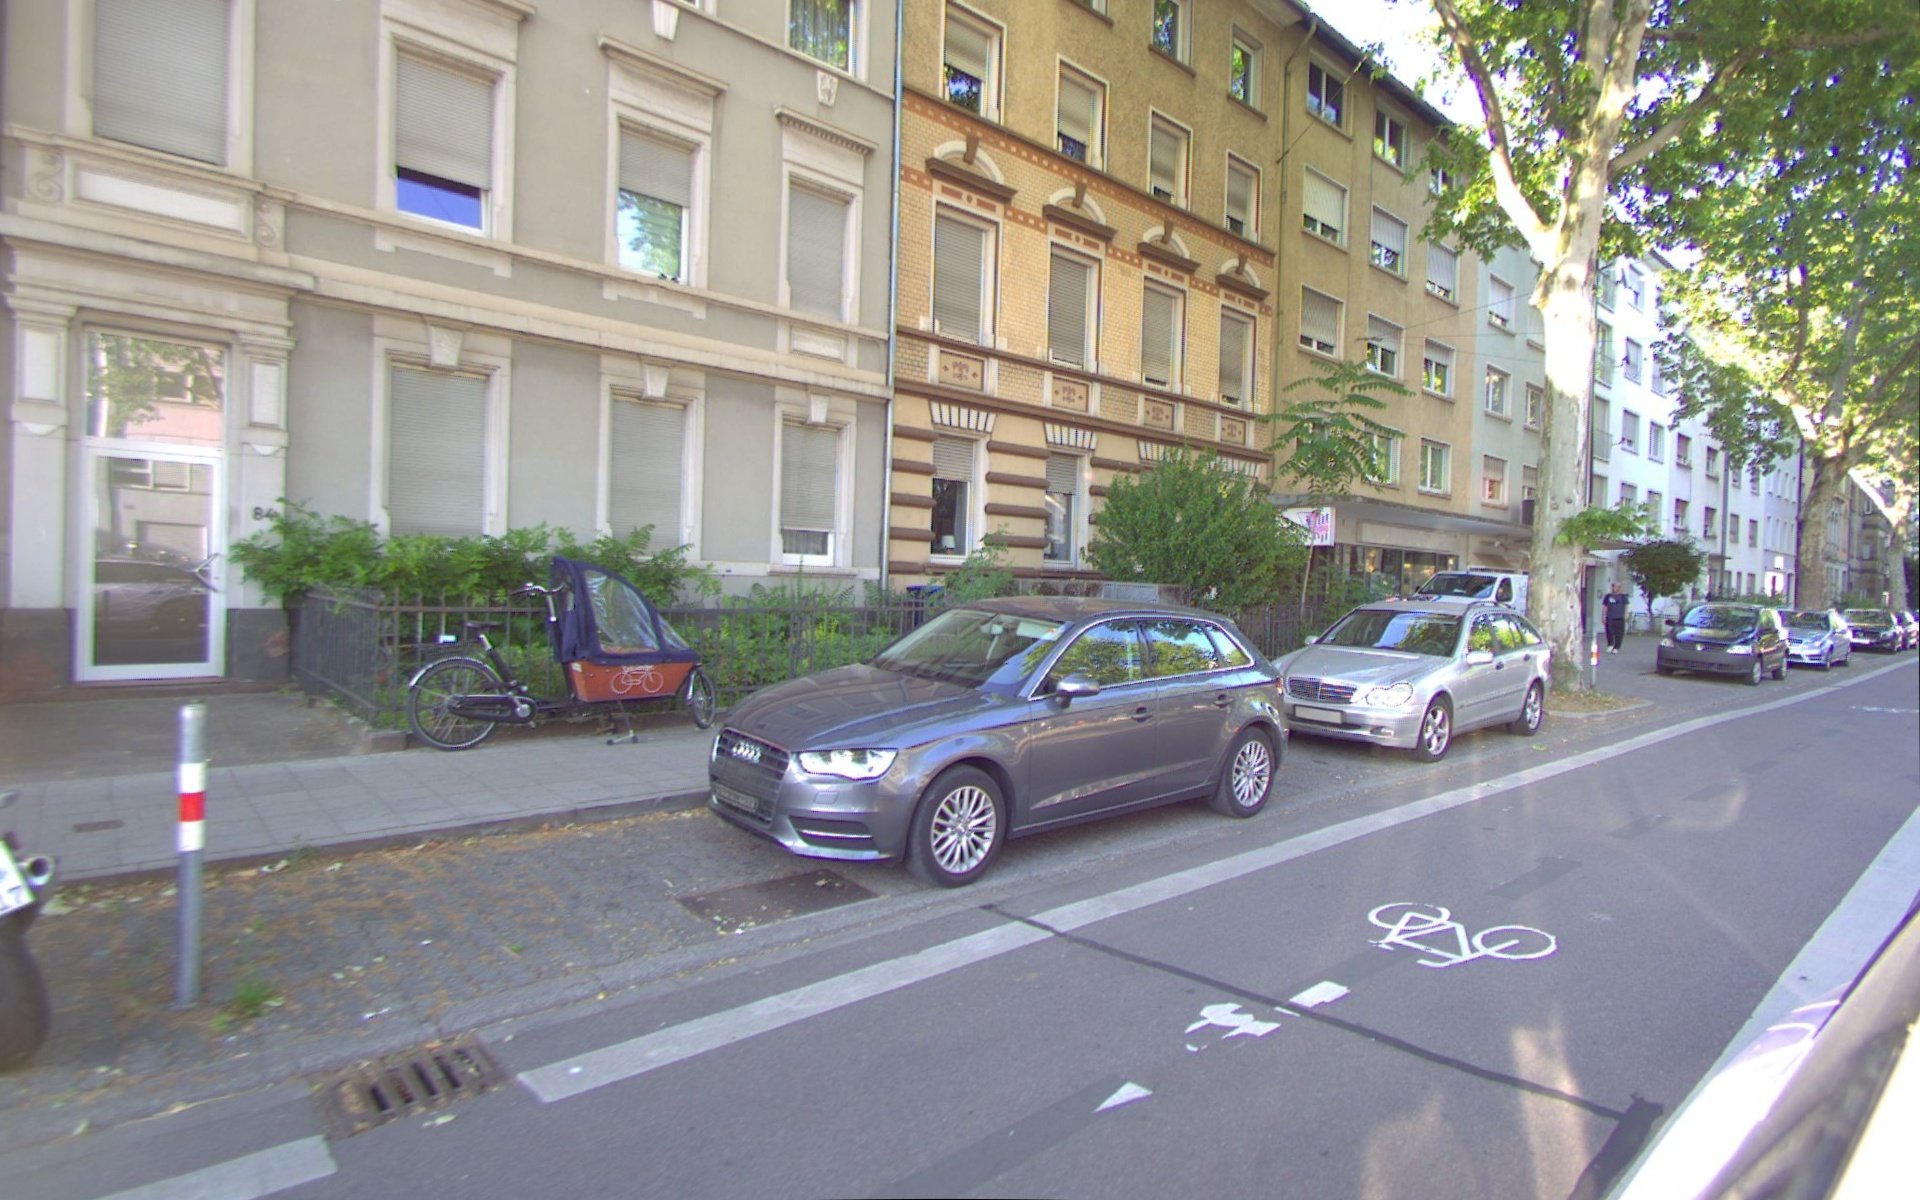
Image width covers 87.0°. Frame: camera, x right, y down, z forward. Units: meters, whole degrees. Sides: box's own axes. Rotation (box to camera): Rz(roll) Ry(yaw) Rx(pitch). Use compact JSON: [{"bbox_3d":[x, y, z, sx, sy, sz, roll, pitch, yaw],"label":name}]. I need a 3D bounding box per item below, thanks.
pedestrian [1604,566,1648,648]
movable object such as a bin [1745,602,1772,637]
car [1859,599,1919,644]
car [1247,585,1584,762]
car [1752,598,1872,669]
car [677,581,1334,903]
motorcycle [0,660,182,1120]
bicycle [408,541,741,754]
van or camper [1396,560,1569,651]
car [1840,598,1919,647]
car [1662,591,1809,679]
[{"bbox_3d":[17.108,0.171,25.991,0.995,2.039,0.683,0,1,-43],"label":"pedestrian"},{"bbox_3d":[27.673,0.656,35.061,0.655,1.173,0.616,0,1,-44],"label":"movable object such as a bin"},{"bbox_3d":[34.771,0.756,37.466,4.289,1.432,1.712,0,4,-42],"label":"car"},{"bbox_3d":[5.020,0.622,10.820,4.494,1.469,1.676,0,2,-43],"label":"car"},{"bbox_3d":[21.567,0.785,25.556,4.695,1.562,1.697,0,2,-42],"label":"car"},{"bbox_3d":[0.529,0.637,6.596,4.245,1.414,1.714,0,2,-41],"label":"car"},{"bbox_3d":[-3.471,0.765,3.192,2.193,1.076,0.760,4,2,28],"label":"motorcycle"},{"bbox_3d":[-2.904,0.318,7.854,2.354,1.445,0.608,0,0,-41],"label":"bicycle"},{"bbox_3d":[12.749,0.099,24.524,5.299,1.946,1.945,0,2,-42],"label":"van or camper"},{"bbox_3d":[31.242,0.723,34.200,4.289,1.432,1.712,0,4,-42],"label":"car"},{"bbox_3d":[15.810,0.649,20.567,3.932,1.564,1.656,0,2,-42],"label":"car"}]
